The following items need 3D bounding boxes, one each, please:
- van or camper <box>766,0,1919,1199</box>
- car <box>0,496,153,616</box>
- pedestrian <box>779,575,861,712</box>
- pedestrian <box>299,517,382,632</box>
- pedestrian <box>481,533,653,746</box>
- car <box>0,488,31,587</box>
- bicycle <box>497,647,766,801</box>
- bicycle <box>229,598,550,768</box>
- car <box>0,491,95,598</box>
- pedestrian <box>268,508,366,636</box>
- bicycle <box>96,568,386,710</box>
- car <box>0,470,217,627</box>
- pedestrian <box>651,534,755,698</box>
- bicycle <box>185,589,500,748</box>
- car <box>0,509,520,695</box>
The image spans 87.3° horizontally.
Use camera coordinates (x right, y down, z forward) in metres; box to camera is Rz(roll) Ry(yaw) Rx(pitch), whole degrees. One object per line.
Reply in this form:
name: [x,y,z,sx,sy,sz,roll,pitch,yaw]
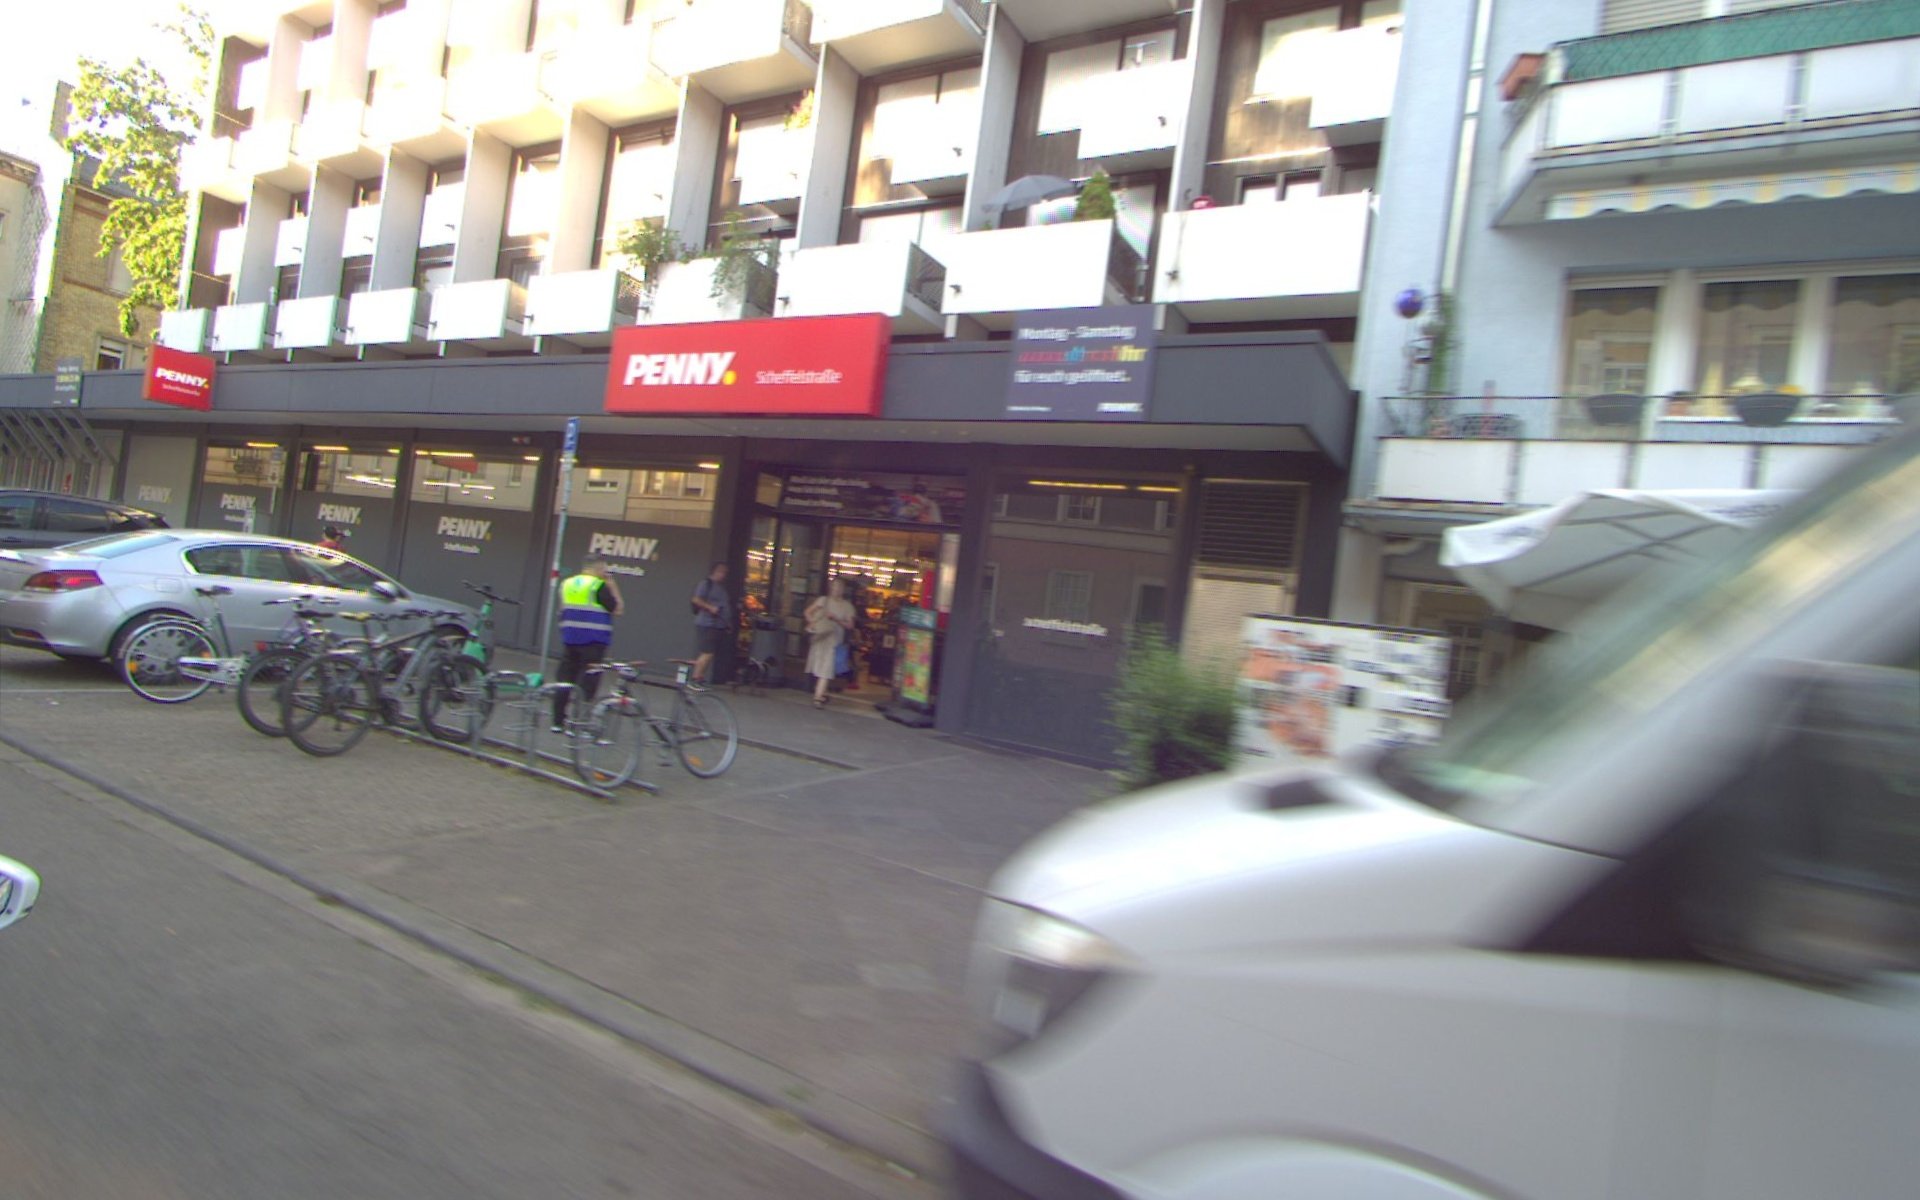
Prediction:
van or camper: [3.445,0.675,0.926,7.384,2.634,2.103,7,0,29]
car: [-15.737,-0.879,15.682,1.765,1.694,4.470,7,-2,26]
pedestrian: [-1.767,0.547,12.823,0.790,1.611,0.636,7,0,-3]
pedestrian: [-9.841,-0.402,15.968,0.898,1.681,0.863,8,-1,-36]
pedestrian: [-3.566,0.352,9.236,1.044,1.741,0.935,7,0,-3]
car: [-20.269,-1.506,18.264,1.851,1.879,4.490,7,-2,24]
bicycle: [-2.451,0.911,7.826,0.711,0.946,2.047,7,-1,24]
bicycle: [-4.285,0.626,7.779,0.711,1.061,2.047,7,-1,24]
car: [-17.965,-1.223,16.971,1.964,1.724,4.587,7,-2,24]
pedestrian: [-10.822,-0.469,16.931,1.082,1.968,0.861,8,-1,-42]
bicycle: [-6.306,0.385,8.939,0.668,1.079,1.901,7,-1,34]
car: [-13.528,-0.867,14.004,1.966,1.879,4.582,7,-2,30]
pedestrian: [-3.342,0.215,13.176,0.855,1.968,1.005,7,0,0]
bicycle: [-4.924,0.563,8.218,0.712,1.061,2.047,7,-1,25]
car: [-7.374,0.077,10.750,1.810,1.484,4.630,7,1,30]
